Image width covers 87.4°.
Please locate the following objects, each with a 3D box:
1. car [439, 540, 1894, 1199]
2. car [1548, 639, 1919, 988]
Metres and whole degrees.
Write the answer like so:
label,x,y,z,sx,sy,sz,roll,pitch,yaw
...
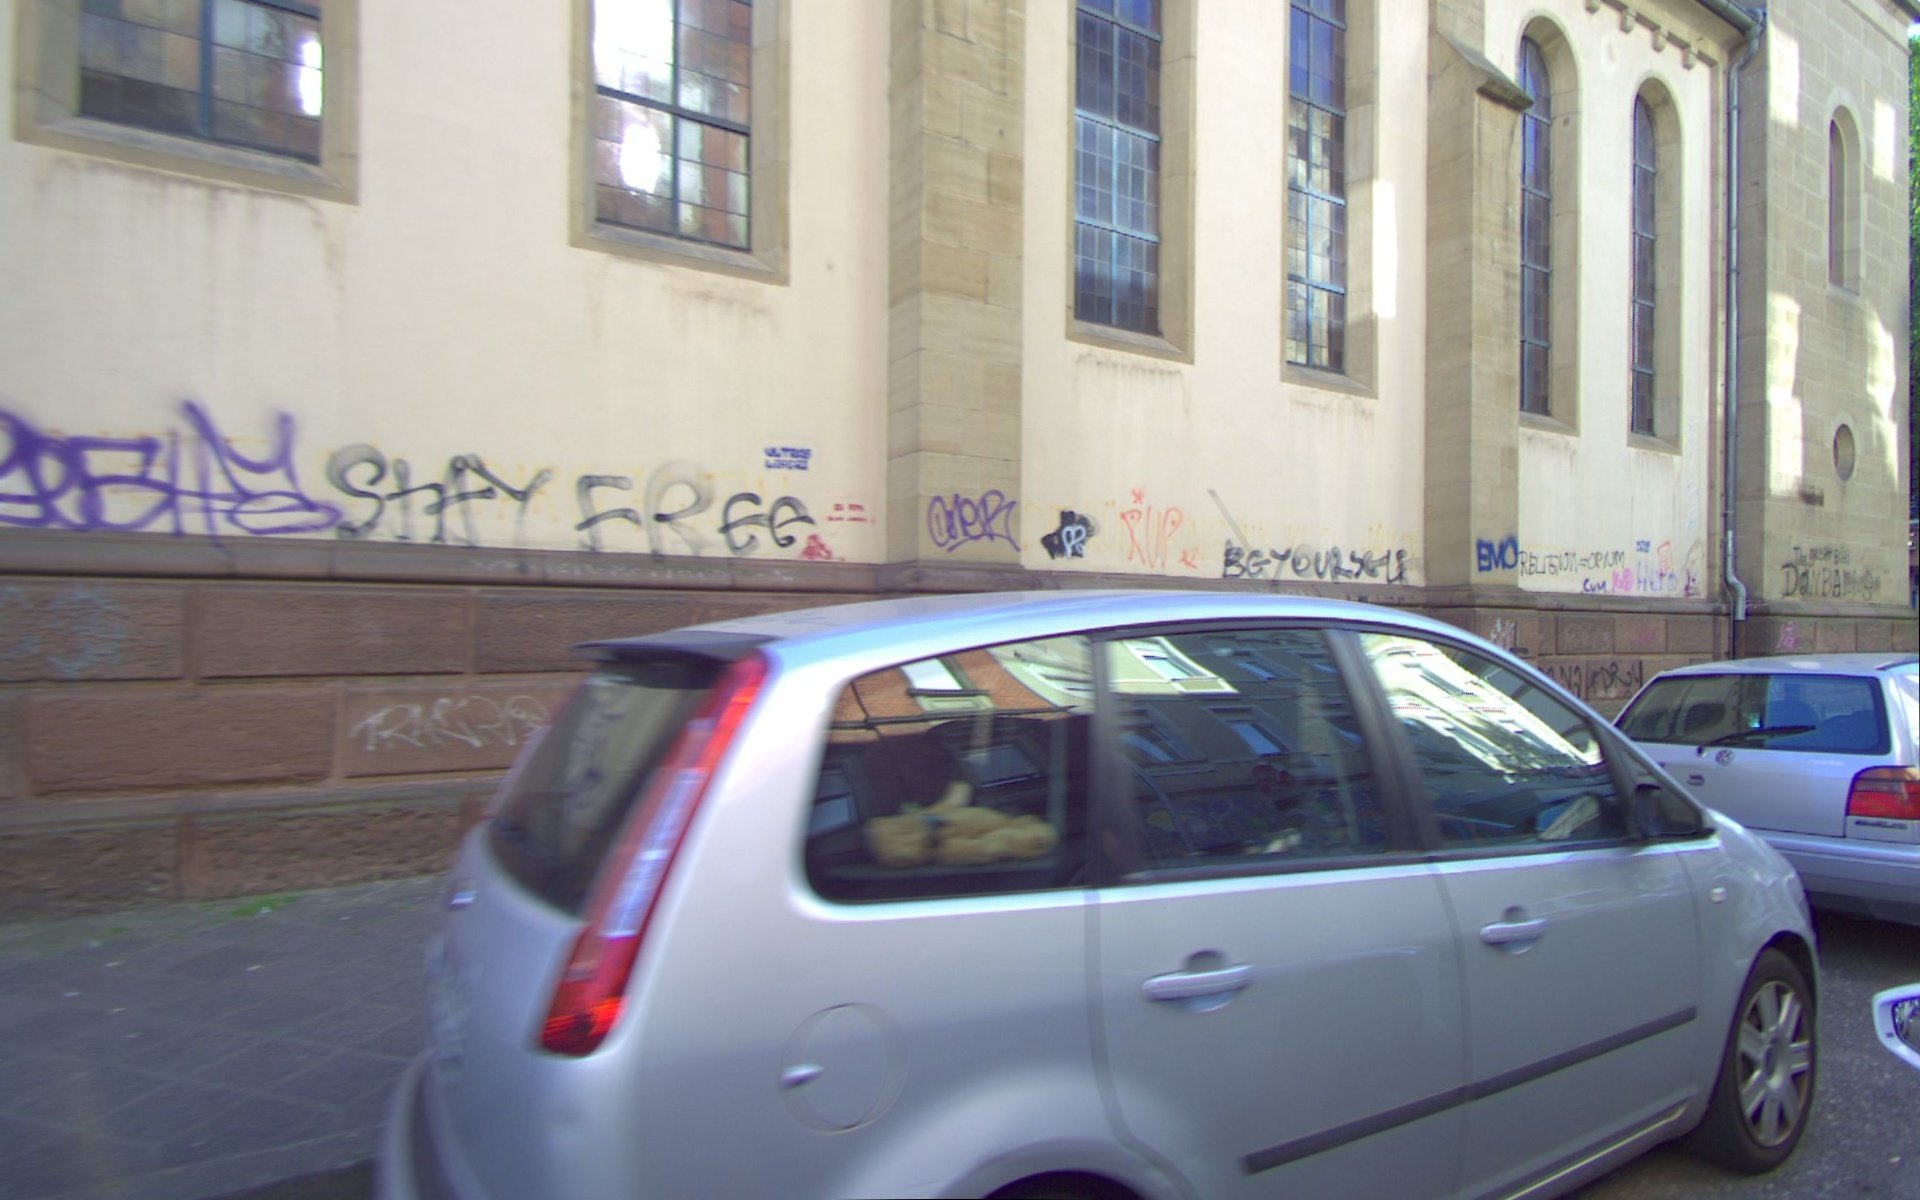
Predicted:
label,x,y,z,sx,sy,sz,roll,pitch,yaw
car,0.813,0.783,2.832,3.955,1.579,1.664,1,-2,-32
car,5.237,0.957,5.646,3.760,1.416,1.564,1,-4,-28
